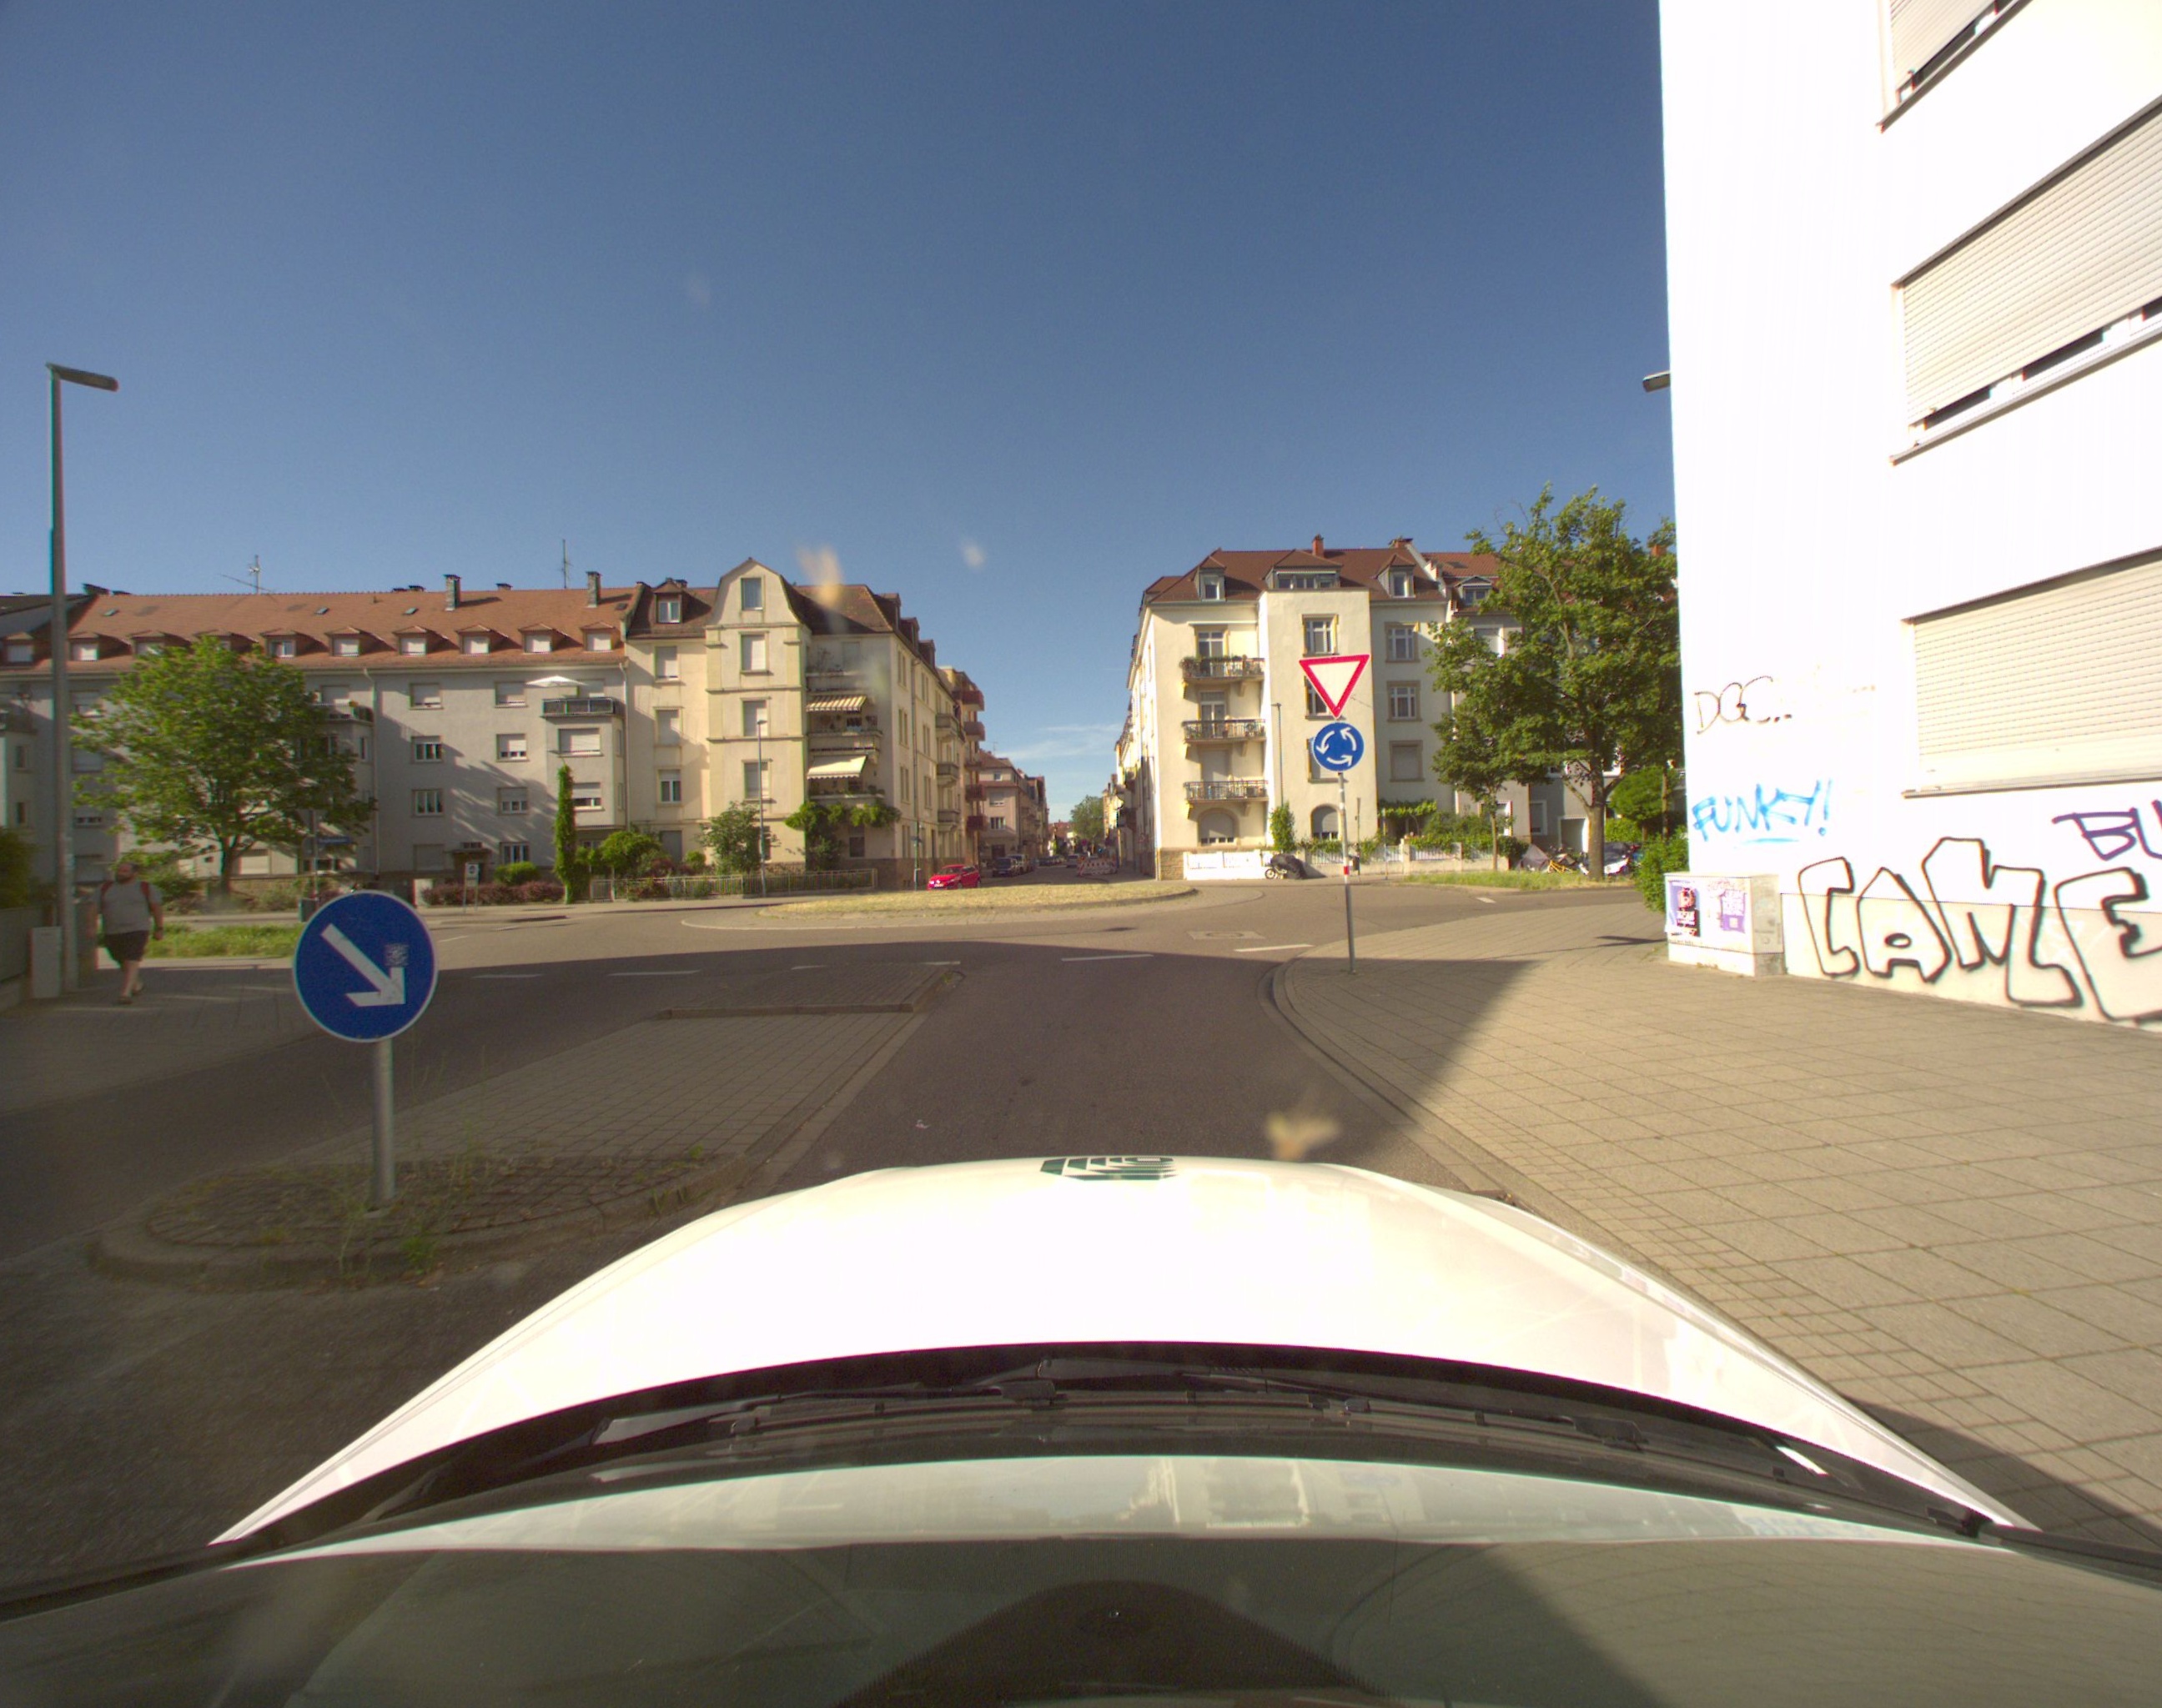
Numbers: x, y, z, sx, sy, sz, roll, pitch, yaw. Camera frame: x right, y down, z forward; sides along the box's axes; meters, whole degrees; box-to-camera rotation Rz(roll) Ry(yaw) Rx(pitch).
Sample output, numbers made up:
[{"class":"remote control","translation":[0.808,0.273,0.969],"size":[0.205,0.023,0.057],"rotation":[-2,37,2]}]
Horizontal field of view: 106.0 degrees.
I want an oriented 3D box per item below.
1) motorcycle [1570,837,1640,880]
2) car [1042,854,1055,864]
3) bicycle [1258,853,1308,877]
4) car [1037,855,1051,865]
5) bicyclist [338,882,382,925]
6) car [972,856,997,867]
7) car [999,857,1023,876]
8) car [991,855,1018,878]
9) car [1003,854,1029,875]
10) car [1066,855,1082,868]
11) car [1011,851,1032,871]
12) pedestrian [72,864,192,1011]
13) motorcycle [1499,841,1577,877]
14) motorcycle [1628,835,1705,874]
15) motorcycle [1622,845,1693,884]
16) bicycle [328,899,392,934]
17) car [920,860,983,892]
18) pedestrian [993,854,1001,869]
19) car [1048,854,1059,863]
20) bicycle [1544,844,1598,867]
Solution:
[{"class":"motorcycle","translation":[17.241,0.148,26.855],"size":[0.858,1.328,2.051],"rotation":[-2,0,-5]},{"class":"car","translation":[-5.554,0.931,140.713],"size":[1.997,1.619,4.486],"rotation":[0,-1,0]},{"class":"bicycle","translation":[9.907,0.552,40.026],"size":[2.257,1.157,0.771],"rotation":[-1,-1,43]},{"class":"car","translation":[-5.570,0.951,123.061],"size":[1.673,1.426,4.276],"rotation":[0,-1,2]},{"class":"bicyclist","translation":[-22.759,1.555,25.716],"size":[0.815,1.312,0.816],"rotation":[-1,-1,29]},{"class":"car","translation":[-13.367,1.073,113.145],"size":[1.714,1.438,3.488],"rotation":[-2,1,-43]},{"class":"car","translation":[-6.233,1.086,72.853],"size":[1.757,1.621,4.294],"rotation":[-1,0,0]},{"class":"car","translation":[-6.319,1.019,67.354],"size":[1.757,1.771,4.294],"rotation":[-1,0,0]},{"class":"car","translation":[-6.226,0.966,78.450],"size":[1.969,1.925,5.309],"rotation":[-1,0,0]},{"class":"car","translation":[-0.837,0.943,103.619],"size":[1.832,1.431,4.029],"rotation":[-3,-2,1]},{"class":"car","translation":[-6.164,0.713,84.832],"size":[1.757,1.925,4.934],"rotation":[-1,0,0]},{"class":"pedestrian","translation":[-11.750,0.983,10.088],"size":[0.984,1.705,0.825],"rotation":[-1,-1,32]},{"class":"motorcycle","translation":[17.298,0.176,30.932],"size":[1.122,1.267,2.778],"rotation":[-2,0,-6]},{"class":"motorcycle","translation":[20.596,0.019,28.719],"size":[1.045,1.267,2.241],"rotation":[-2,0,-1]},{"class":"motorcycle","translation":[17.341,0.295,24.566],"size":[0.809,1.072,1.844],"rotation":[-2,1,-1]},{"class":"bicycle","translation":[-22.766,1.956,25.711],"size":[2.182,1.014,0.816],"rotation":[-1,0,29]},{"class":"car","translation":[-6.745,1.140,42.834],"size":[1.699,1.382,4.016],"rotation":[-3,1,14]},{"class":"pedestrian","translation":[-10.176,0.880,98.909],"size":[0.921,1.817,0.993],"rotation":[-1,0,-3]},{"class":"car","translation":[-5.139,0.834,154.469],"size":[1.997,1.619,4.486],"rotation":[0,-1,0]},{"class":"bicycle","translation":[24.593,0.092,40.911],"size":[2.241,1.059,0.683],"rotation":[-2,0,1]}]
